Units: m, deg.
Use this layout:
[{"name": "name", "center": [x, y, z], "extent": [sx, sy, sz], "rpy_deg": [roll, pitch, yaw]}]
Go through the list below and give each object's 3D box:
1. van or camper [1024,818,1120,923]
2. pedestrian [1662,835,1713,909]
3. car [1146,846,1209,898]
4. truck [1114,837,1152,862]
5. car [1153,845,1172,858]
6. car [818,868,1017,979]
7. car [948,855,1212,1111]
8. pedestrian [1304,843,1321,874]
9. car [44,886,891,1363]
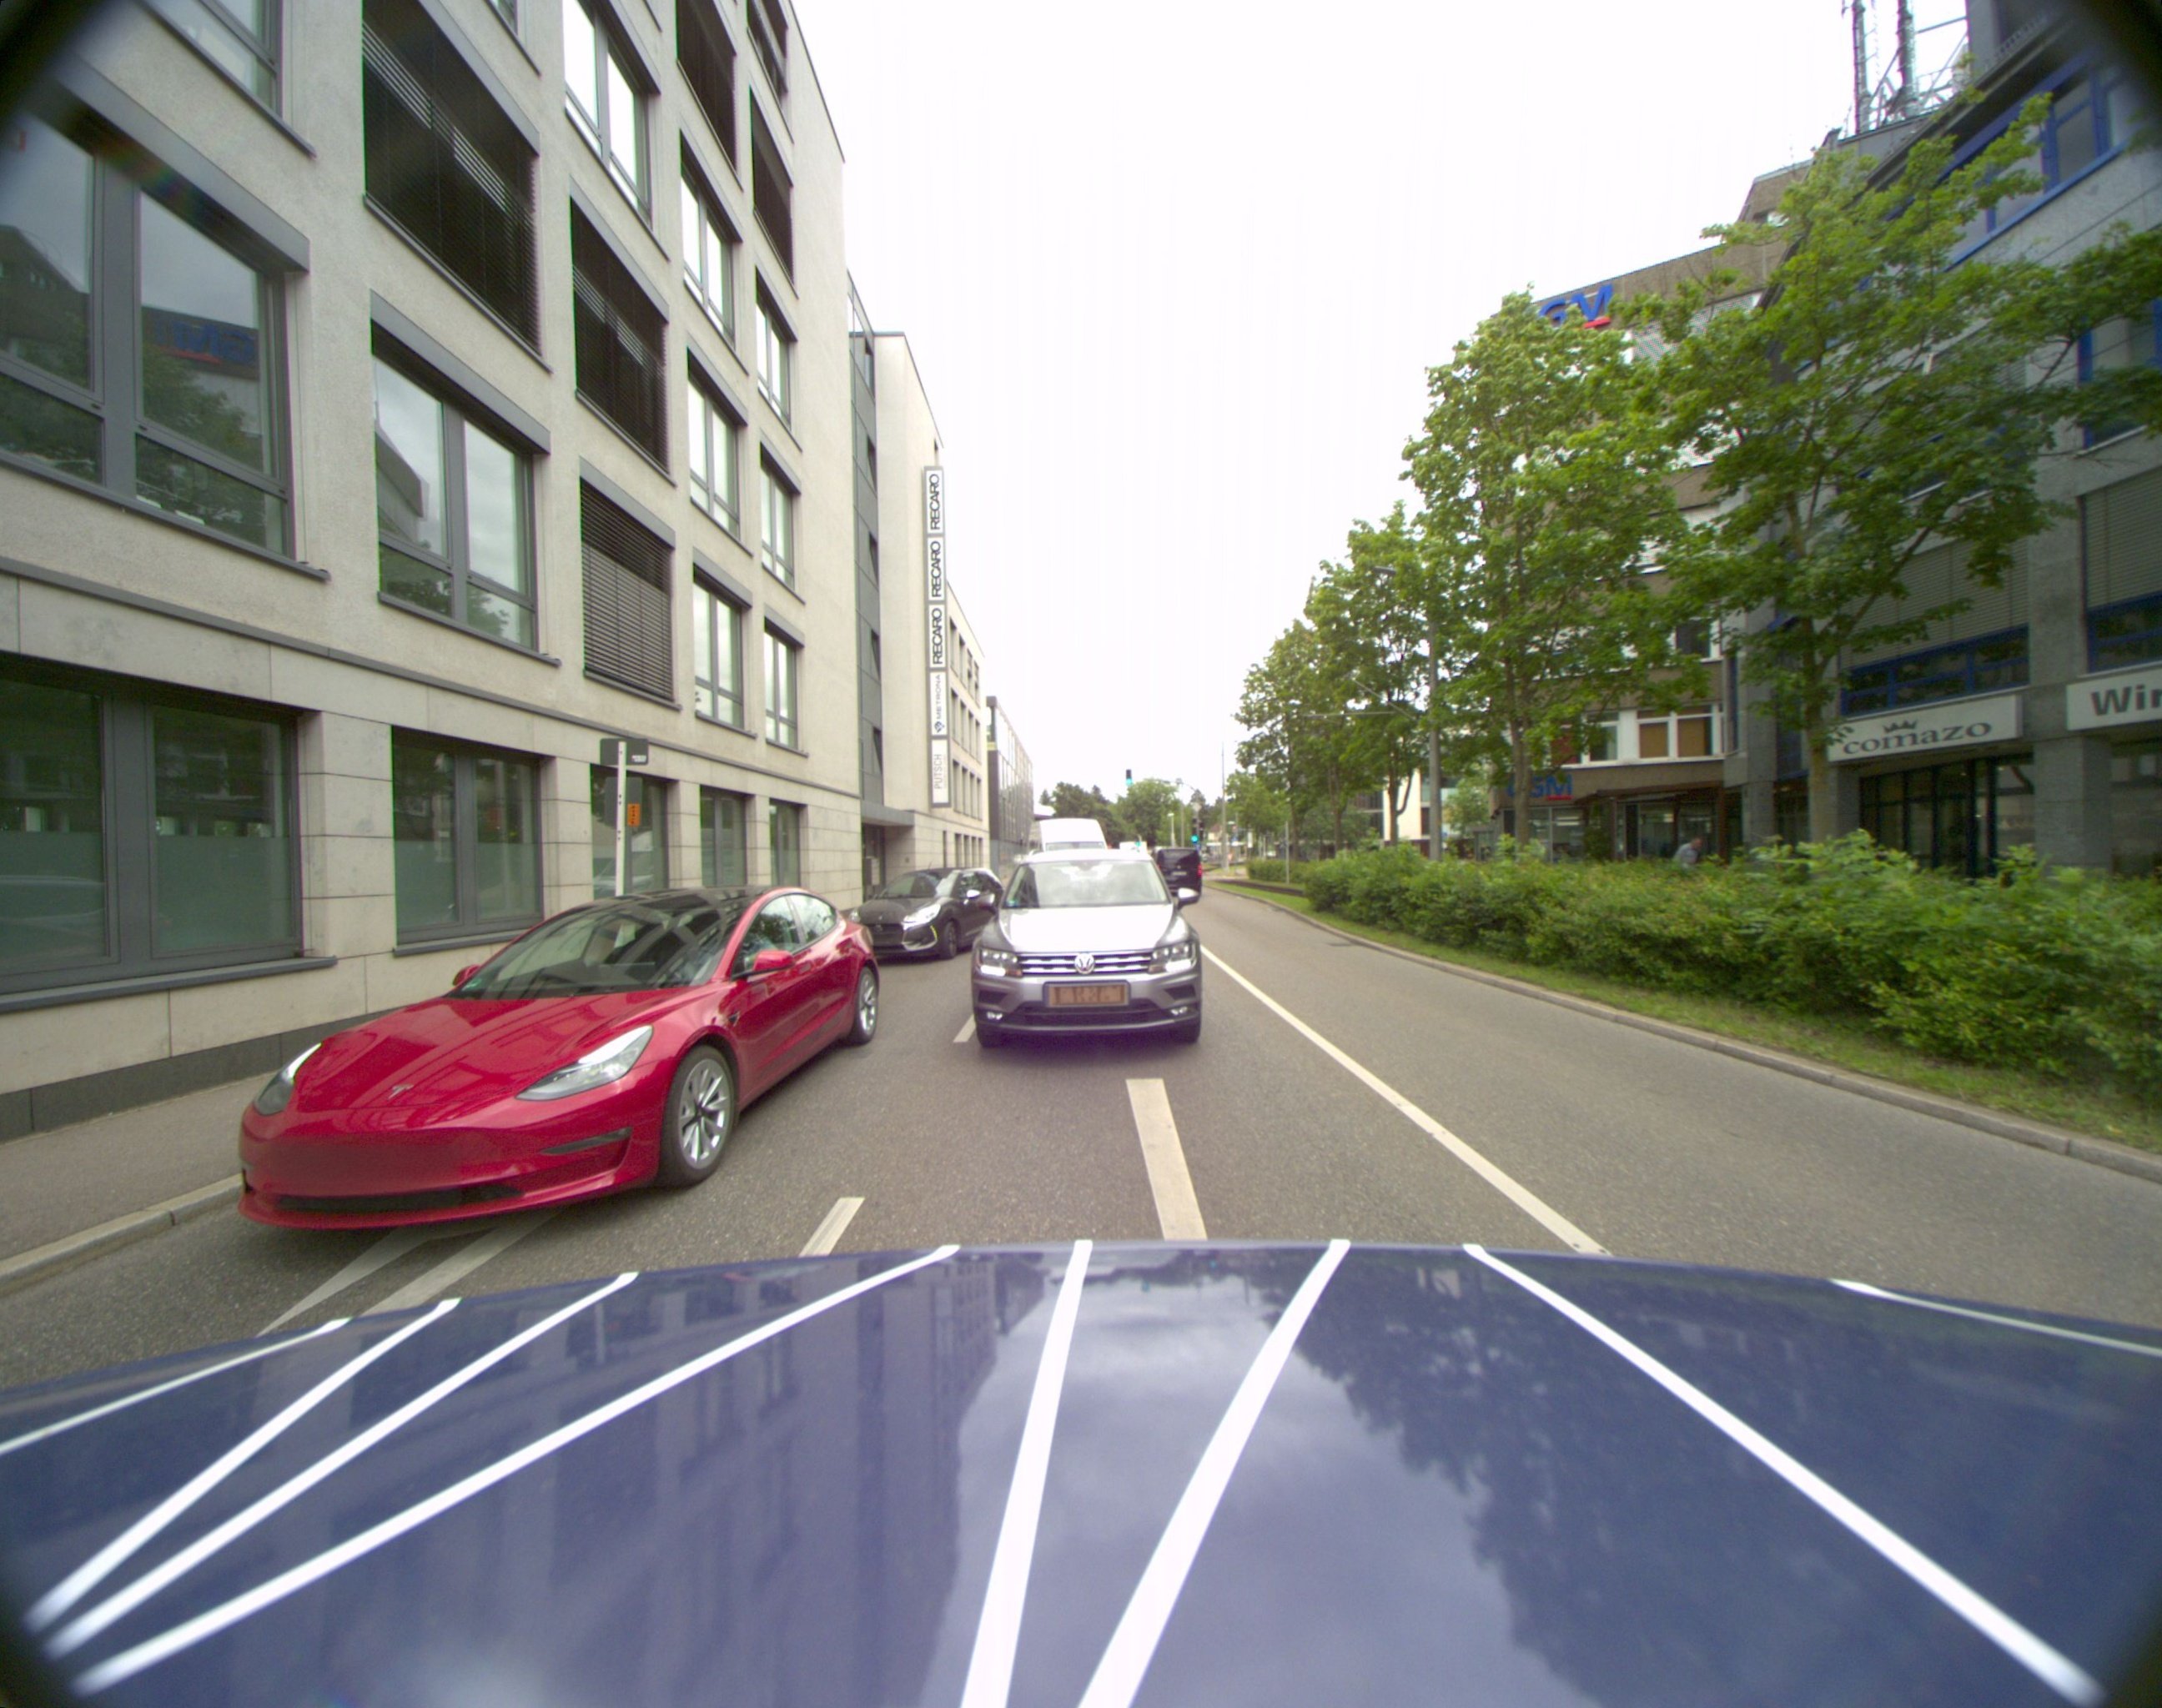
[{"name": "van or camper", "center": [-0.452, 0.401, 23.218], "extent": [2.114, 2.718, 6.147], "rpy_deg": [-2, 1, -8]}, {"name": "pedestrian", "center": [15.169, 0.426, 19.019], "extent": [0.680, 1.795, 0.731], "rpy_deg": [-2, 1, -4]}, {"name": "car", "center": [3.811, 0.661, 30.843], "extent": [1.998, 1.936, 4.736], "rpy_deg": [0, 1, 1]}, {"name": "truck", "center": [8.098, -0.705, 117.614], "extent": [2.317, 3.626, 8.024], "rpy_deg": [-1, 1, 31]}, {"name": "car", "center": [13.889, -0.466, 128.707], "extent": [1.995, 2.002, 4.006], "rpy_deg": [-1, 1, 24]}, {"name": "car", "center": [-2.570, 1.068, 12.930], "extent": [1.743, 1.449, 3.737], "rpy_deg": [-3, 0, 14]}, {"name": "car", "center": [0.024, 0.902, 7.503], "extent": [1.798, 1.716, 4.458], "rpy_deg": [-1, 0, 1]}, {"name": "pedestrian", "center": [15.013, 0.286, 49.290], "extent": [0.816, 1.912, 0.731], "rpy_deg": [-2, 1, 0]}, {"name": "car", "center": [-2.767, 1.076, 4.946], "extent": [1.825, 1.449, 4.408], "rpy_deg": [-3, 0, 1]}]
